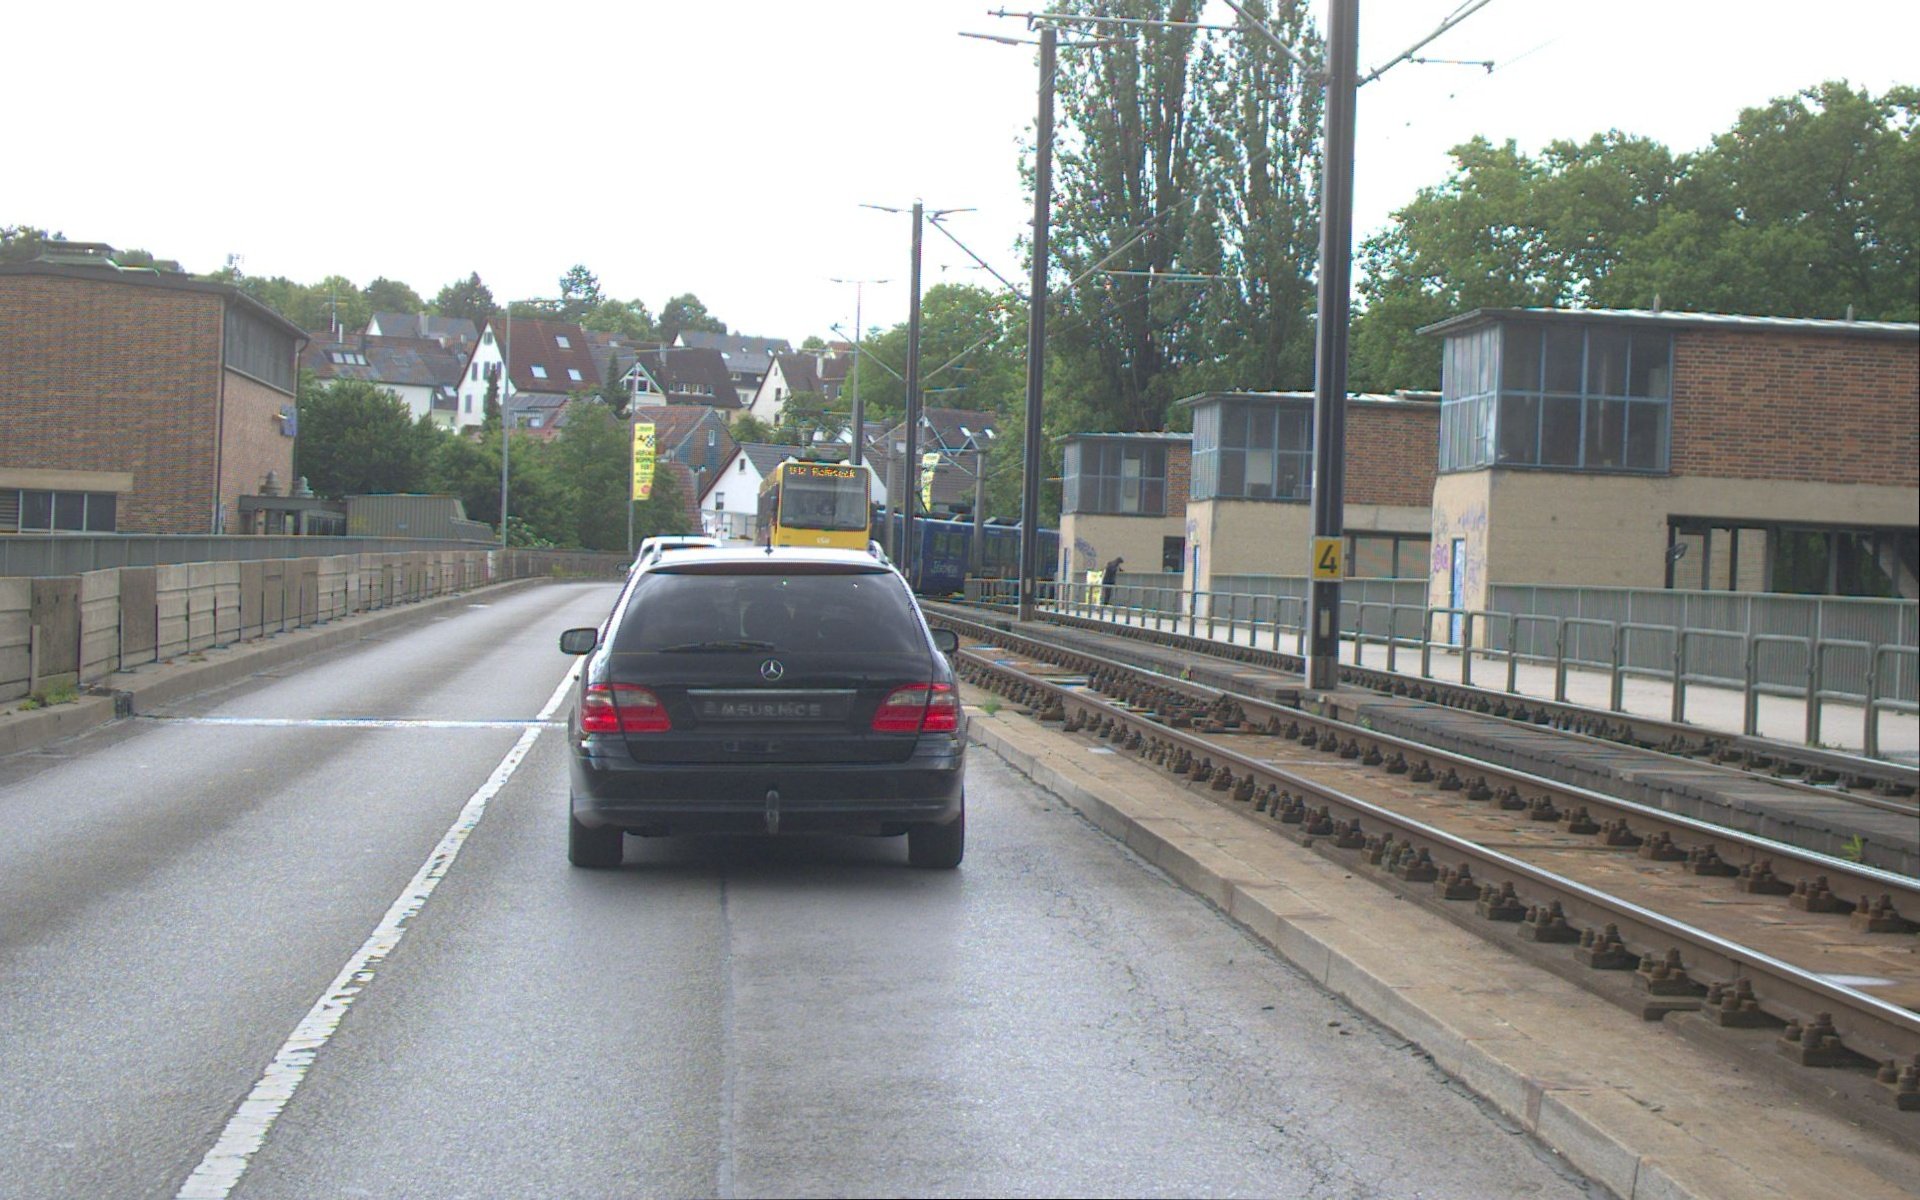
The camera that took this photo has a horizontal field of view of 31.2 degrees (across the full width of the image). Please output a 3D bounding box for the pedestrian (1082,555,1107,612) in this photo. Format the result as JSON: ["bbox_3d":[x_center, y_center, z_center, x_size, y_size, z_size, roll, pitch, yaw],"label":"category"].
[{"bbox_3d":[3.835,-0.486,98.015,0.577,1.604,0.613,2,0,-4],"label":"pedestrian"}]

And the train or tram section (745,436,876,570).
[{"bbox_3d":[-4.517,-2.747,99.876,2.882,3.497,18.671,0,1,-5],"label":"train or tram section"}]

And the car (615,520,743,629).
[{"bbox_3d":[-4.408,-0.425,53.398,1.770,1.550,4.242,2,1,-7],"label":"car"}]

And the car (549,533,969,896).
[{"bbox_3d":[-0.976,0.447,16.833,1.759,1.510,4.443,1,1,-3],"label":"car"}]
